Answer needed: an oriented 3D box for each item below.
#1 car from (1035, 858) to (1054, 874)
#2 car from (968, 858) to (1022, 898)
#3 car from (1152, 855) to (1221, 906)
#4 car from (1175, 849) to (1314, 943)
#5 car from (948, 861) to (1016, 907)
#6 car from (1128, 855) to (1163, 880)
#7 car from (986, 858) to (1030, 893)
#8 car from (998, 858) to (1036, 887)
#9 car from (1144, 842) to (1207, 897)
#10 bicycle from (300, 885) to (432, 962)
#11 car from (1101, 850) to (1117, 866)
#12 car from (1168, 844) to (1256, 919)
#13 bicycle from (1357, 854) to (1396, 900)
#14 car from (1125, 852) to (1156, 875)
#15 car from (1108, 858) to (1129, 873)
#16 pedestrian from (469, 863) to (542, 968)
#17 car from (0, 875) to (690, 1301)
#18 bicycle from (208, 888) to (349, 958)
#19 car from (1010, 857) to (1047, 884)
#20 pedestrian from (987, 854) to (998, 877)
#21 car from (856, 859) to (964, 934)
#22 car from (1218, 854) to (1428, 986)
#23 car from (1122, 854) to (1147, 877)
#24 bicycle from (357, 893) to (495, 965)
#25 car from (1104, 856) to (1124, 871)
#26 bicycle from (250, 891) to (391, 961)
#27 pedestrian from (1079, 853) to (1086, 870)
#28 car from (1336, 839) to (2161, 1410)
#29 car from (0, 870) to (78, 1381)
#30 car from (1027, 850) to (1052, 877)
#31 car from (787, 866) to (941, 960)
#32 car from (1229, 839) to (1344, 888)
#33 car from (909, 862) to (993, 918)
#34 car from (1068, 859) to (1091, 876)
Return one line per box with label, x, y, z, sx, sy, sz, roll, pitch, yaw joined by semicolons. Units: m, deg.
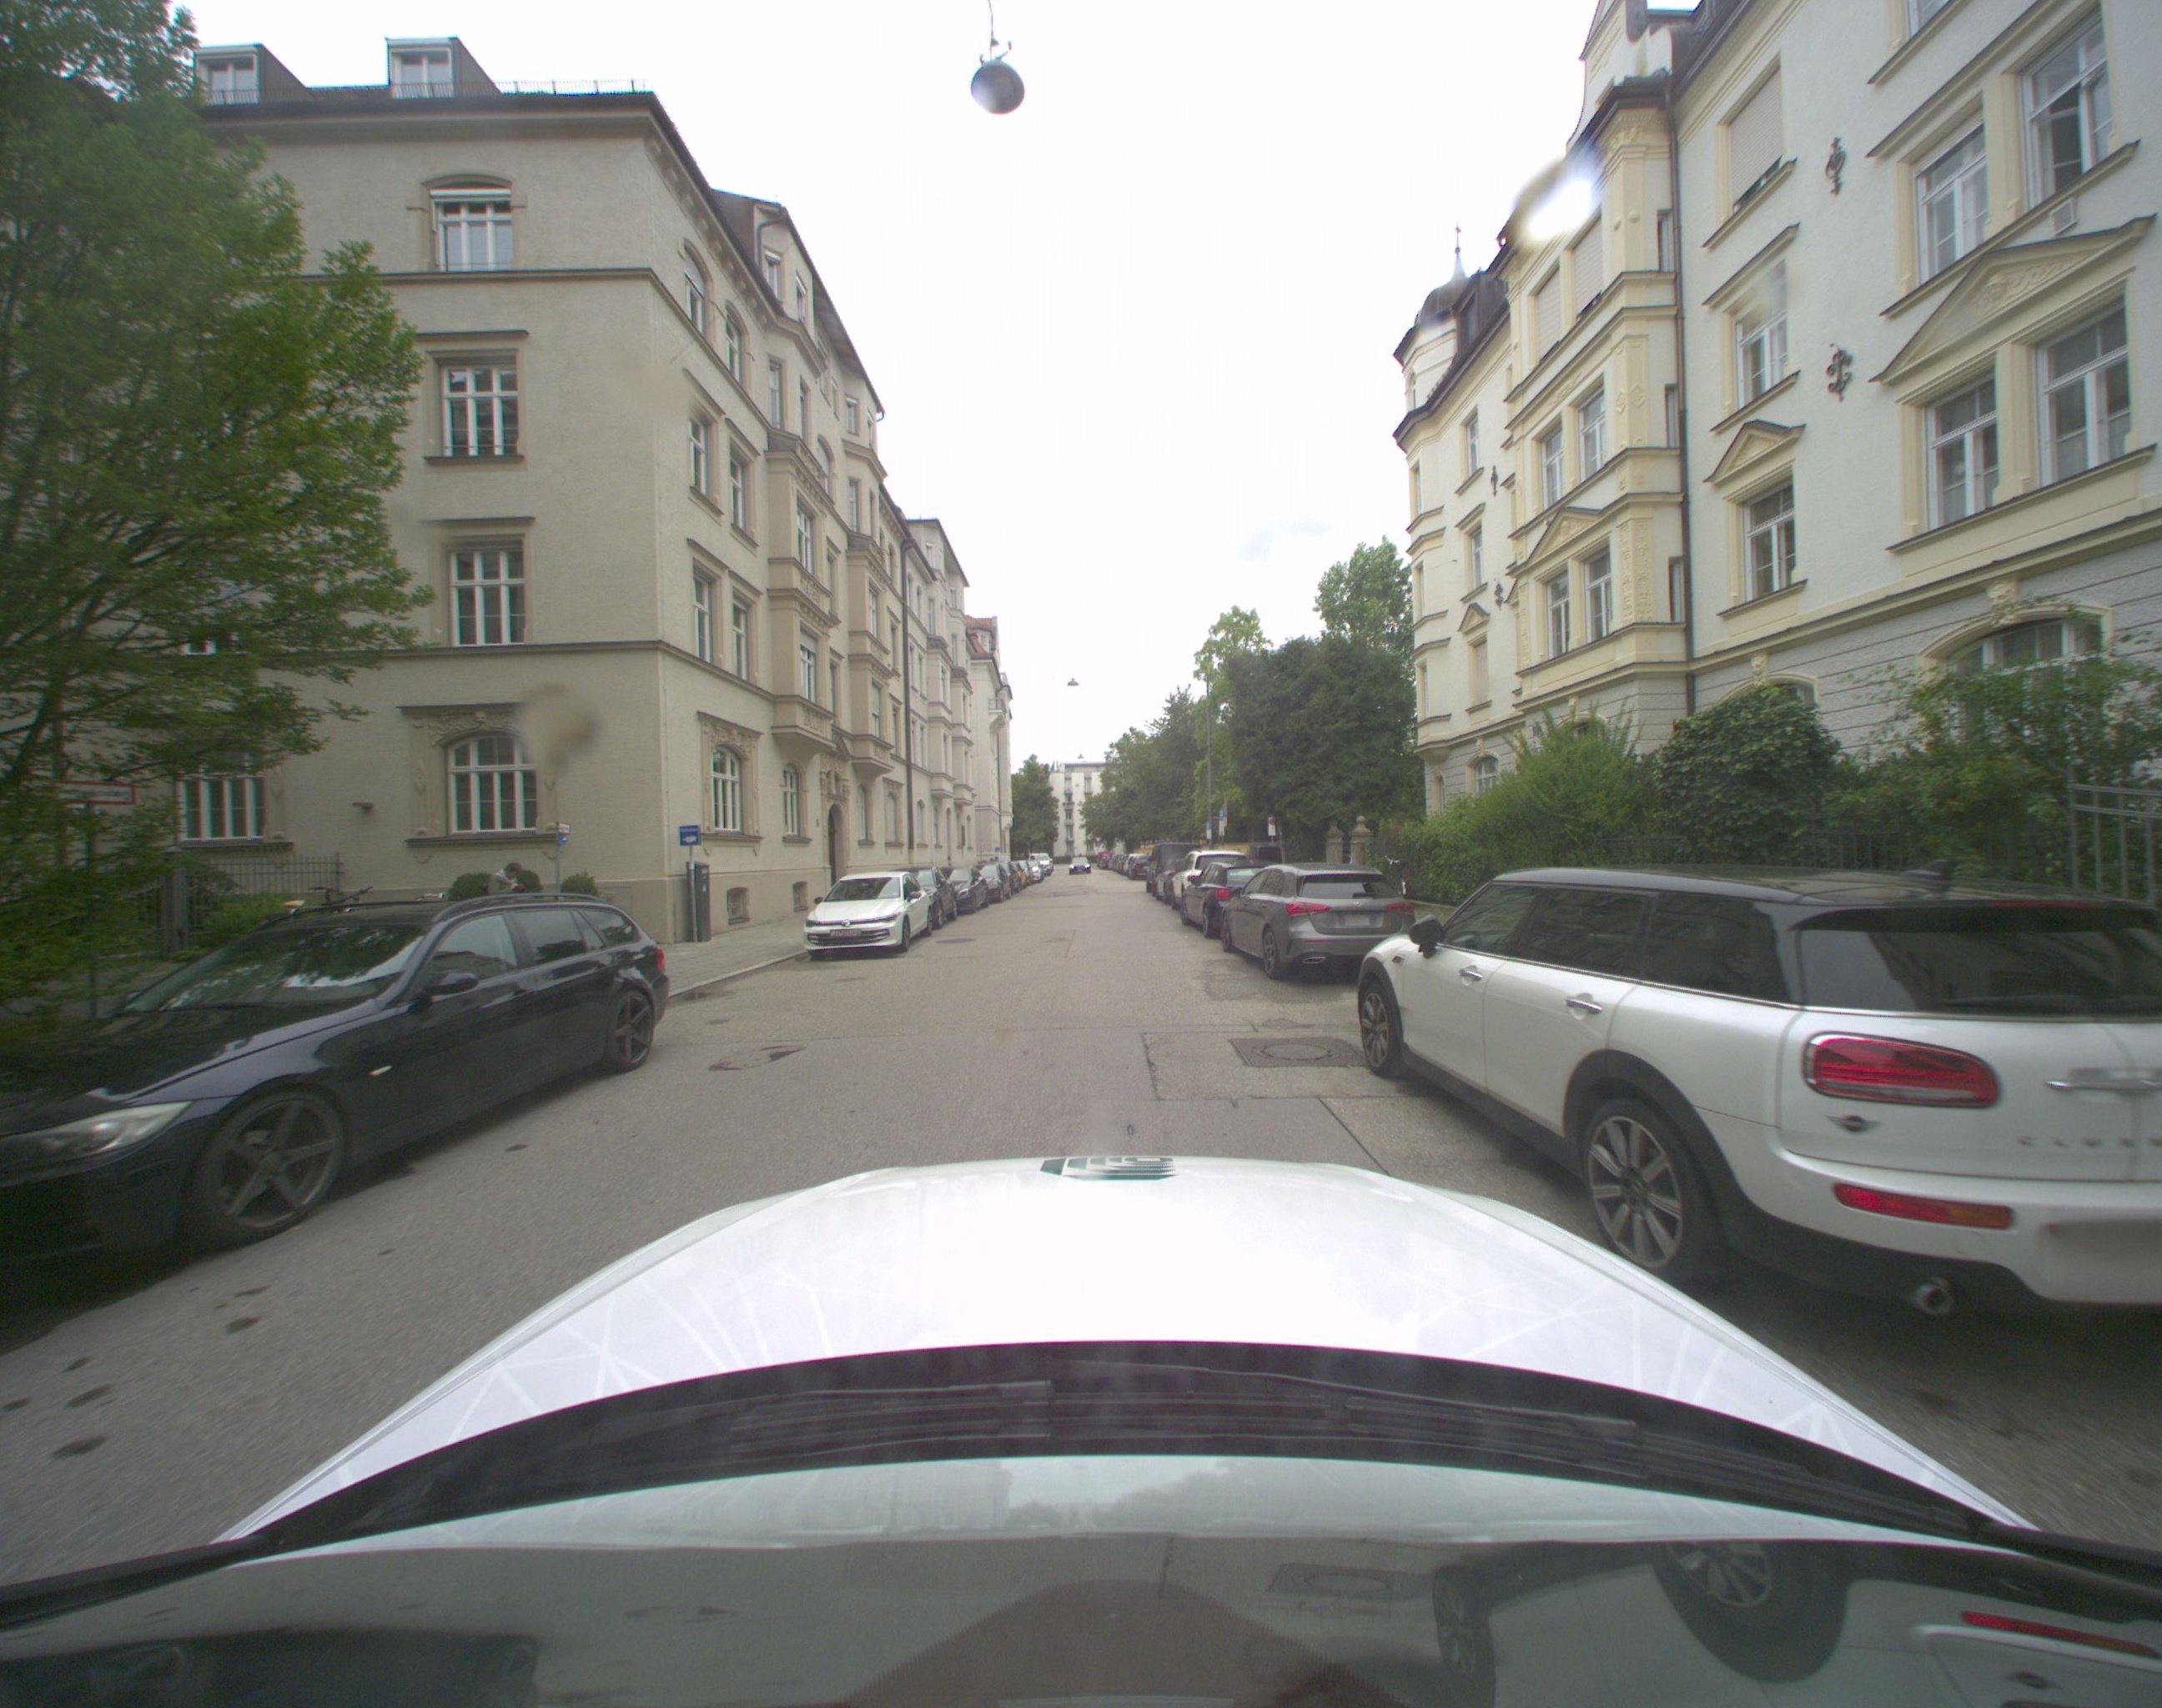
car;-4.179;1.308;93.874;2.009;1.634;4.412;-4;0;-1
car;-3.738;1.017;36.072;1.747;1.499;4.020;-4;0;2
car;3.341;0.824;26.312;1.717;1.519;3.629;1;-1;-1
car;3.081;0.718;16.272;1.746;1.610;4.420;0;0;-2
car;-3.662;1.081;30.736;1.829;1.435;4.246;-4;0;2
car;3.864;0.818;49.239;1.832;1.413;4.343;0;-1;1
car;-3.642;1.048;41.238;1.634;1.499;3.974;-4;0;2
car;-3.627;1.021;46.814;1.719;1.499;3.931;-3;-1;2
car;3.555;0.536;31.327;1.944;1.954;4.666;0;1;1
bicycle;-12.507;1.176;14.327;0.610;1.092;1.821;1;3;3
car;3.468;0.500;99.935;1.828;1.927;4.008;1;0;3
car;3.352;0.677;21.556;1.716;1.769;4.414;1;-1;2
bicycle;7.406;0.561;20.434;0.453;1.098;1.313;-2;-1;0
car;3.922;0.633;54.487;1.648;1.519;3.791;0;-1;-3
car;3.814;1.148;83.899;1.834;1.519;3.943;0;-1;-3
pedestrian;-9.213;0.966;13.060;0.671;1.626;0.630;-2;0;-2
car;-4.464;0.927;5.148;1.781;1.412;4.367;-2;0;1
bicycle;-14.125;1.189;14.419;0.551;0.997;1.834;-1;2;4
car;-3.280;1.003;51.705;1.829;1.438;4.276;-4;0;2
pedestrian;-6.740;0.866;62.078;0.791;1.679;0.699;-2;0;-5
car;-4.191;0.980;20.667;1.765;1.518;4.383;-4;0;-1
car;3.133;0.769;11.425;1.679;1.504;4.016;-1;0;-1
car;3.874;0.823;59.214;1.509;1.661;3.672;0;-1;-1
bicycle;-11.334;1.259;14.199;0.691;0.960;2.011;1;3;3
car;3.532;1.033;87.925;1.834;1.519;3.943;0;-1;-3
bicycle;-13.360;1.227;14.396;0.582;1.003;1.909;0;2;4
pedestrian;0.153;1.030;109.800;0.839;2.285;0.843;-2;-1;1
car;2.805;0.721;4.197;1.778;1.504;4.066;-1;0;1
car;-4.400;0.896;0.665;1.830;1.618;4.245;-2;0;1
car;-3.553;0.793;70.216;1.881;2.127;4.704;-4;0;-1
car;-4.060;1.037;15.994;1.831;1.434;4.243;-3;0;0
car;9.003;0.379;35.915;4.523;1.950;1.900;-2;1;-6
car;-3.959;1.059;25.600;1.828;1.434;4.553;-3;0;0
car;-0.131;1.153;70.719;1.869;1.428;4.406;-2;0;-1
